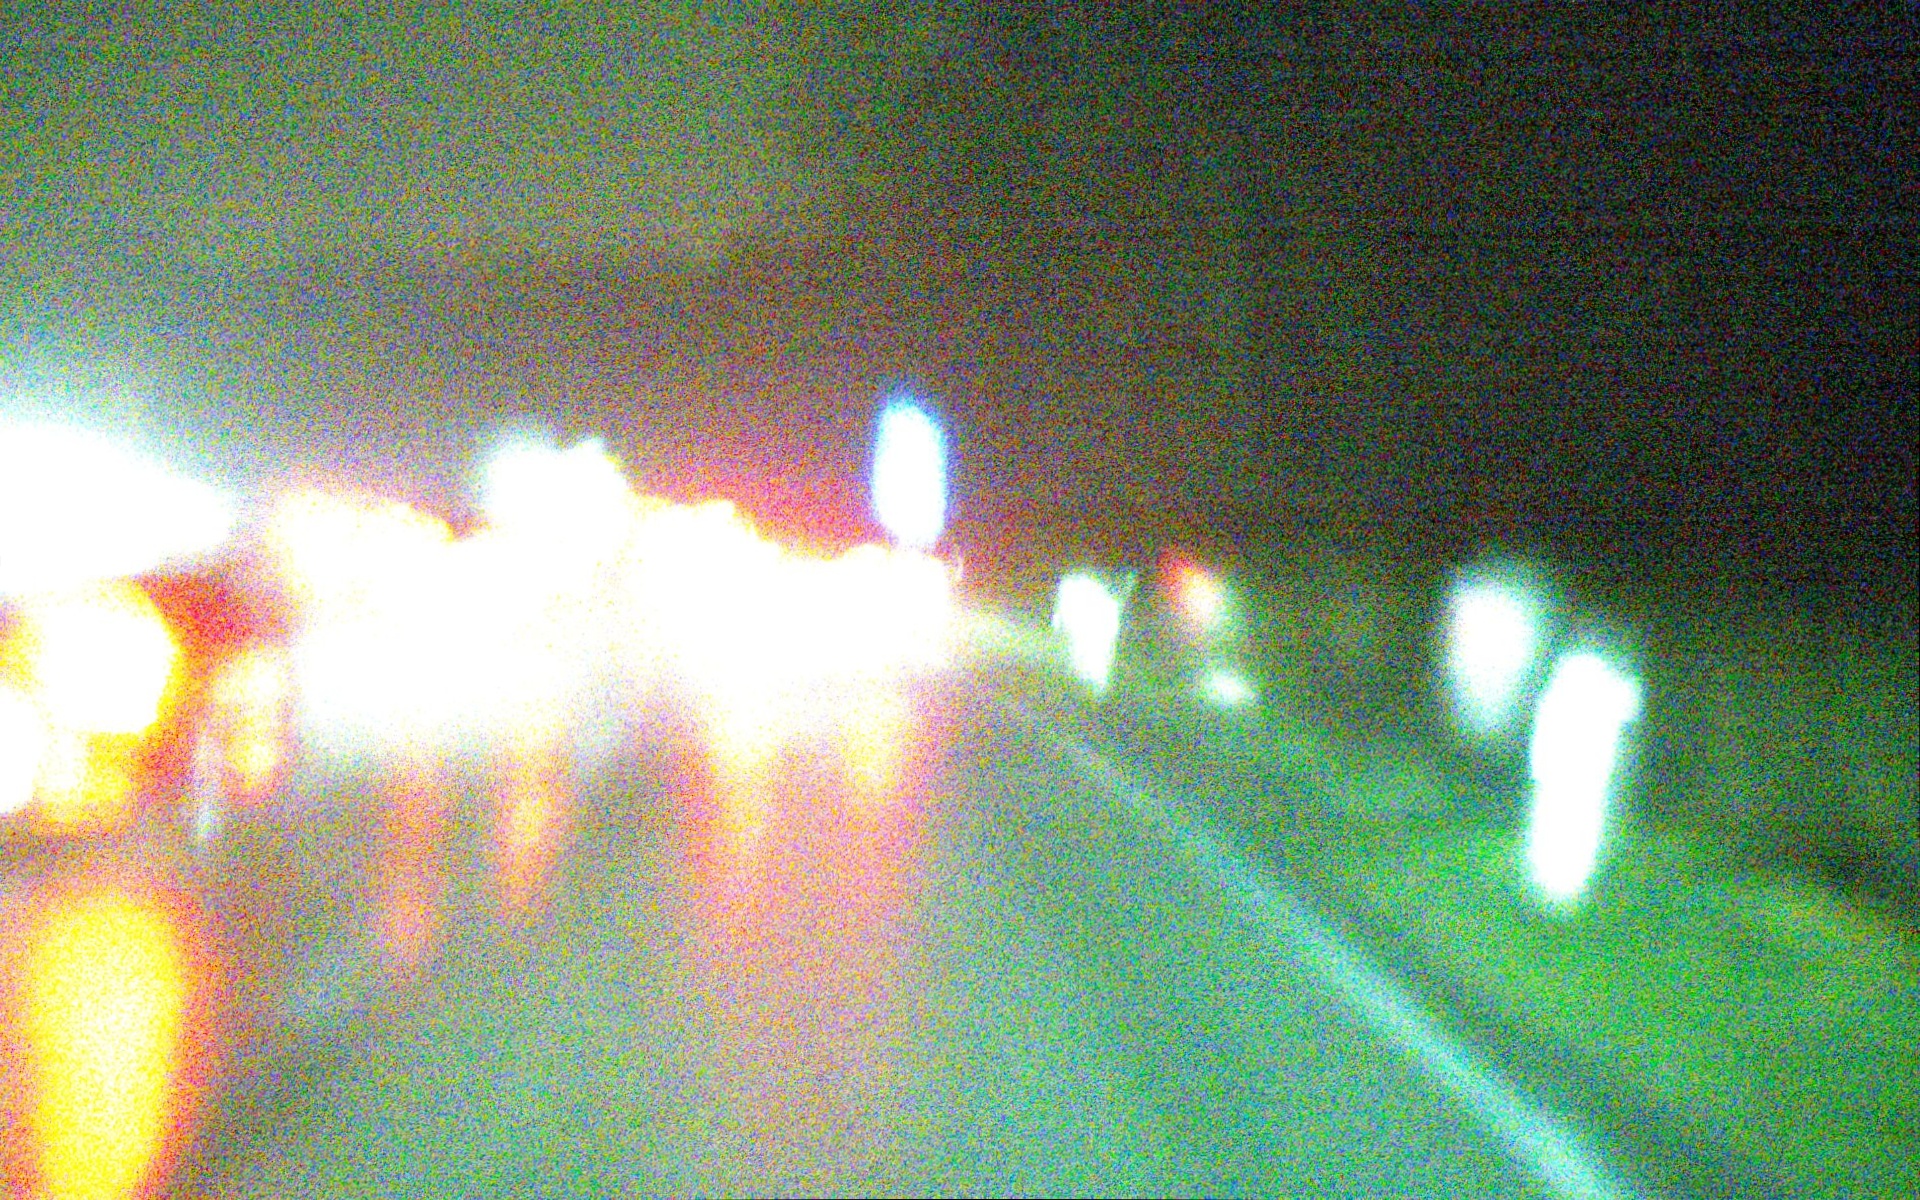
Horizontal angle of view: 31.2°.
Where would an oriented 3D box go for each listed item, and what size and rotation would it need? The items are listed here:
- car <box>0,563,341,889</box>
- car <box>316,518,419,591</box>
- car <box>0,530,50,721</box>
[{"bbox_3d":[-4.408,0.522,16.937,1.962,1.376,4.049,2,0,0],"label":"car"},{"bbox_3d":[-13.266,-1.016,77.182,1.892,1.545,4.001,1,0,-4],"label":"car"},{"bbox_3d":[-8.485,0.203,26.679,1.767,1.512,4.915,1,1,-3],"label":"car"}]
